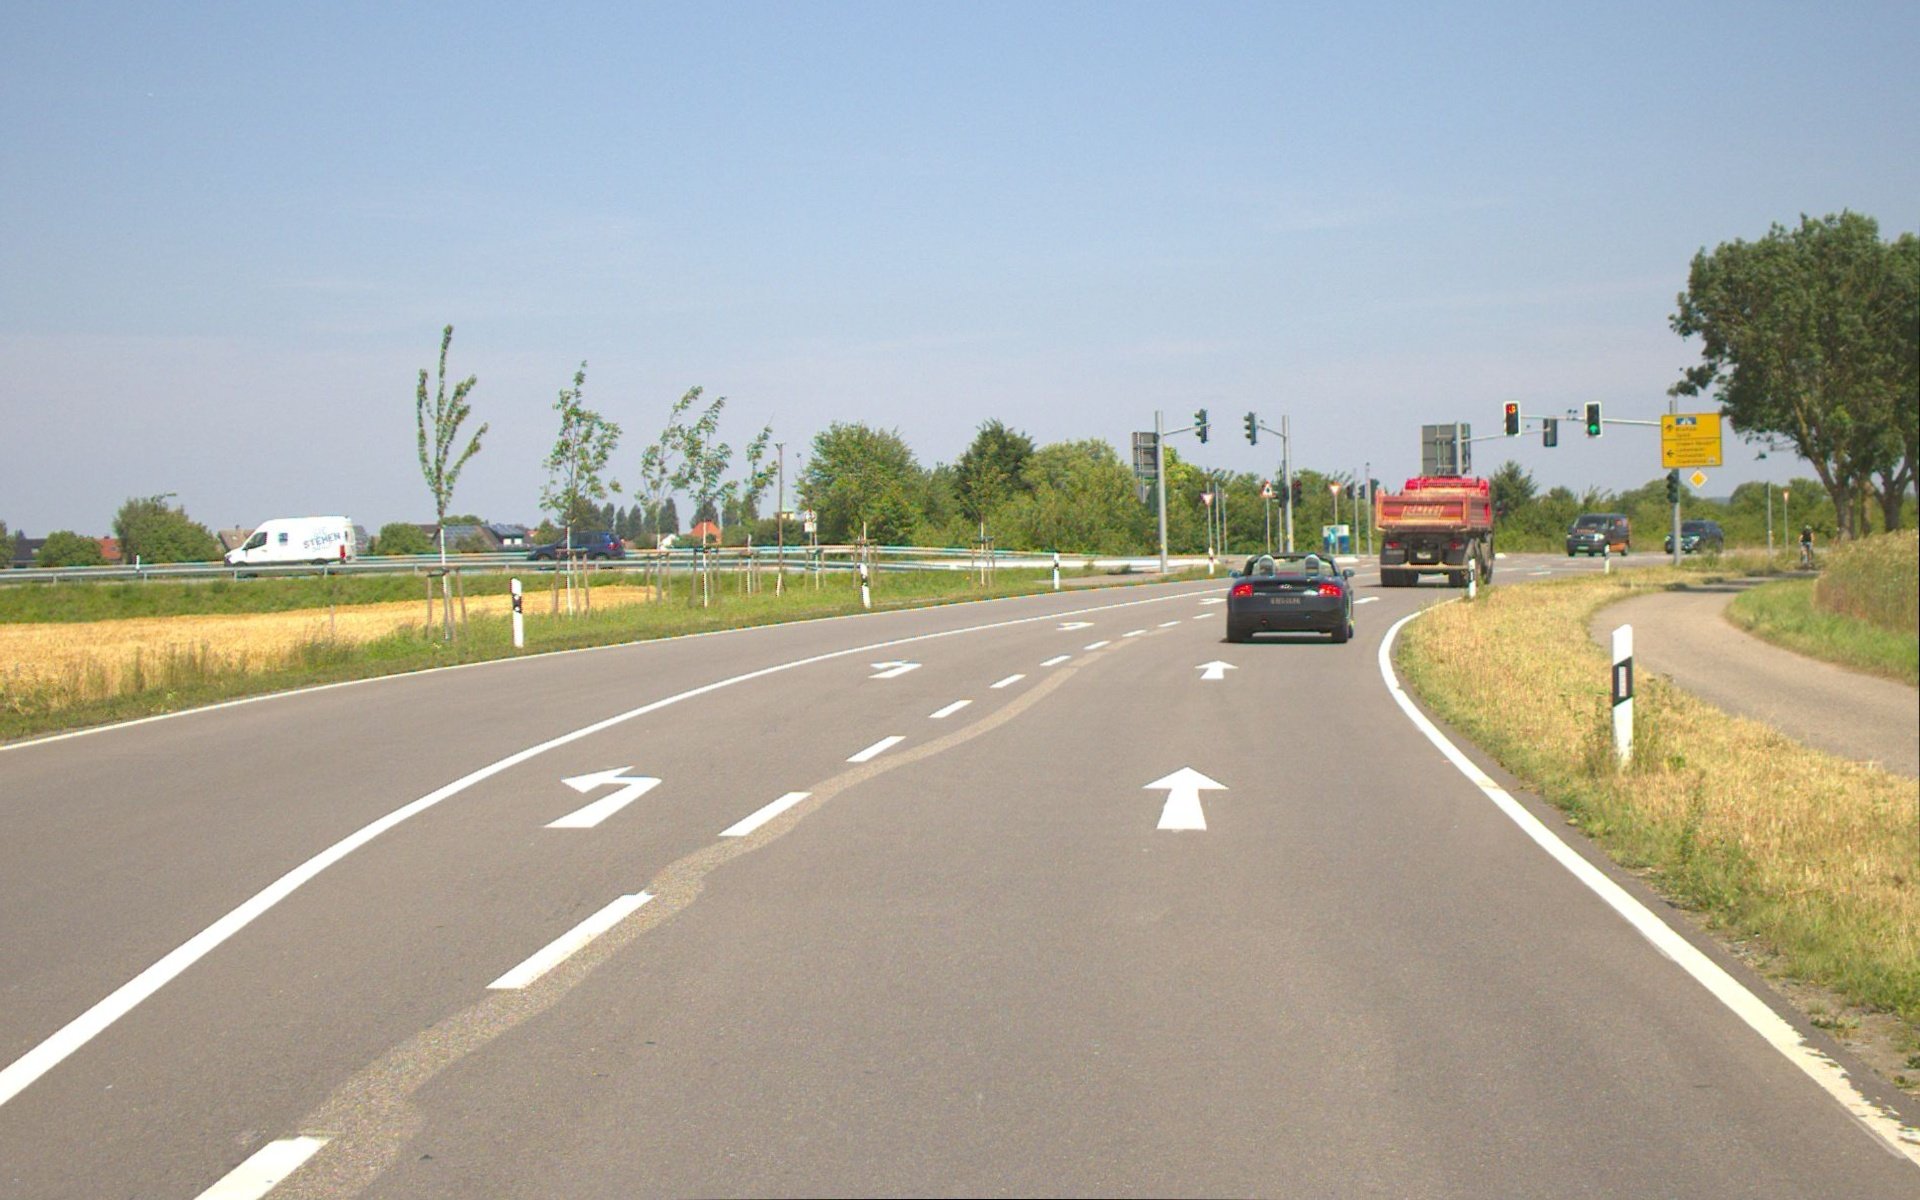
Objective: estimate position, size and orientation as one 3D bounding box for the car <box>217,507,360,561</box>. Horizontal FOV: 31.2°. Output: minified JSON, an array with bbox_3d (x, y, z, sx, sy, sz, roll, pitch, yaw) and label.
[{"bbox_3d":[-30.357,-2.988,155.426,5.918,2.413,2.247,0,1,5],"label":"car"}]

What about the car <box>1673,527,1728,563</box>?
[{"bbox_3d":[37.705,-2.811,174.926,1.933,1.733,4.884,0,1,22],"label":"car"}]

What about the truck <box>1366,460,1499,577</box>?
[{"bbox_3d":[13.221,-2.198,95.710,2.716,3.042,8.159,0,0,14],"label":"truck"}]

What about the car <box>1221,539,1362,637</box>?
[{"bbox_3d":[4.892,-0.170,50.369,1.748,1.371,3.677,1,0,10],"label":"car"}]
